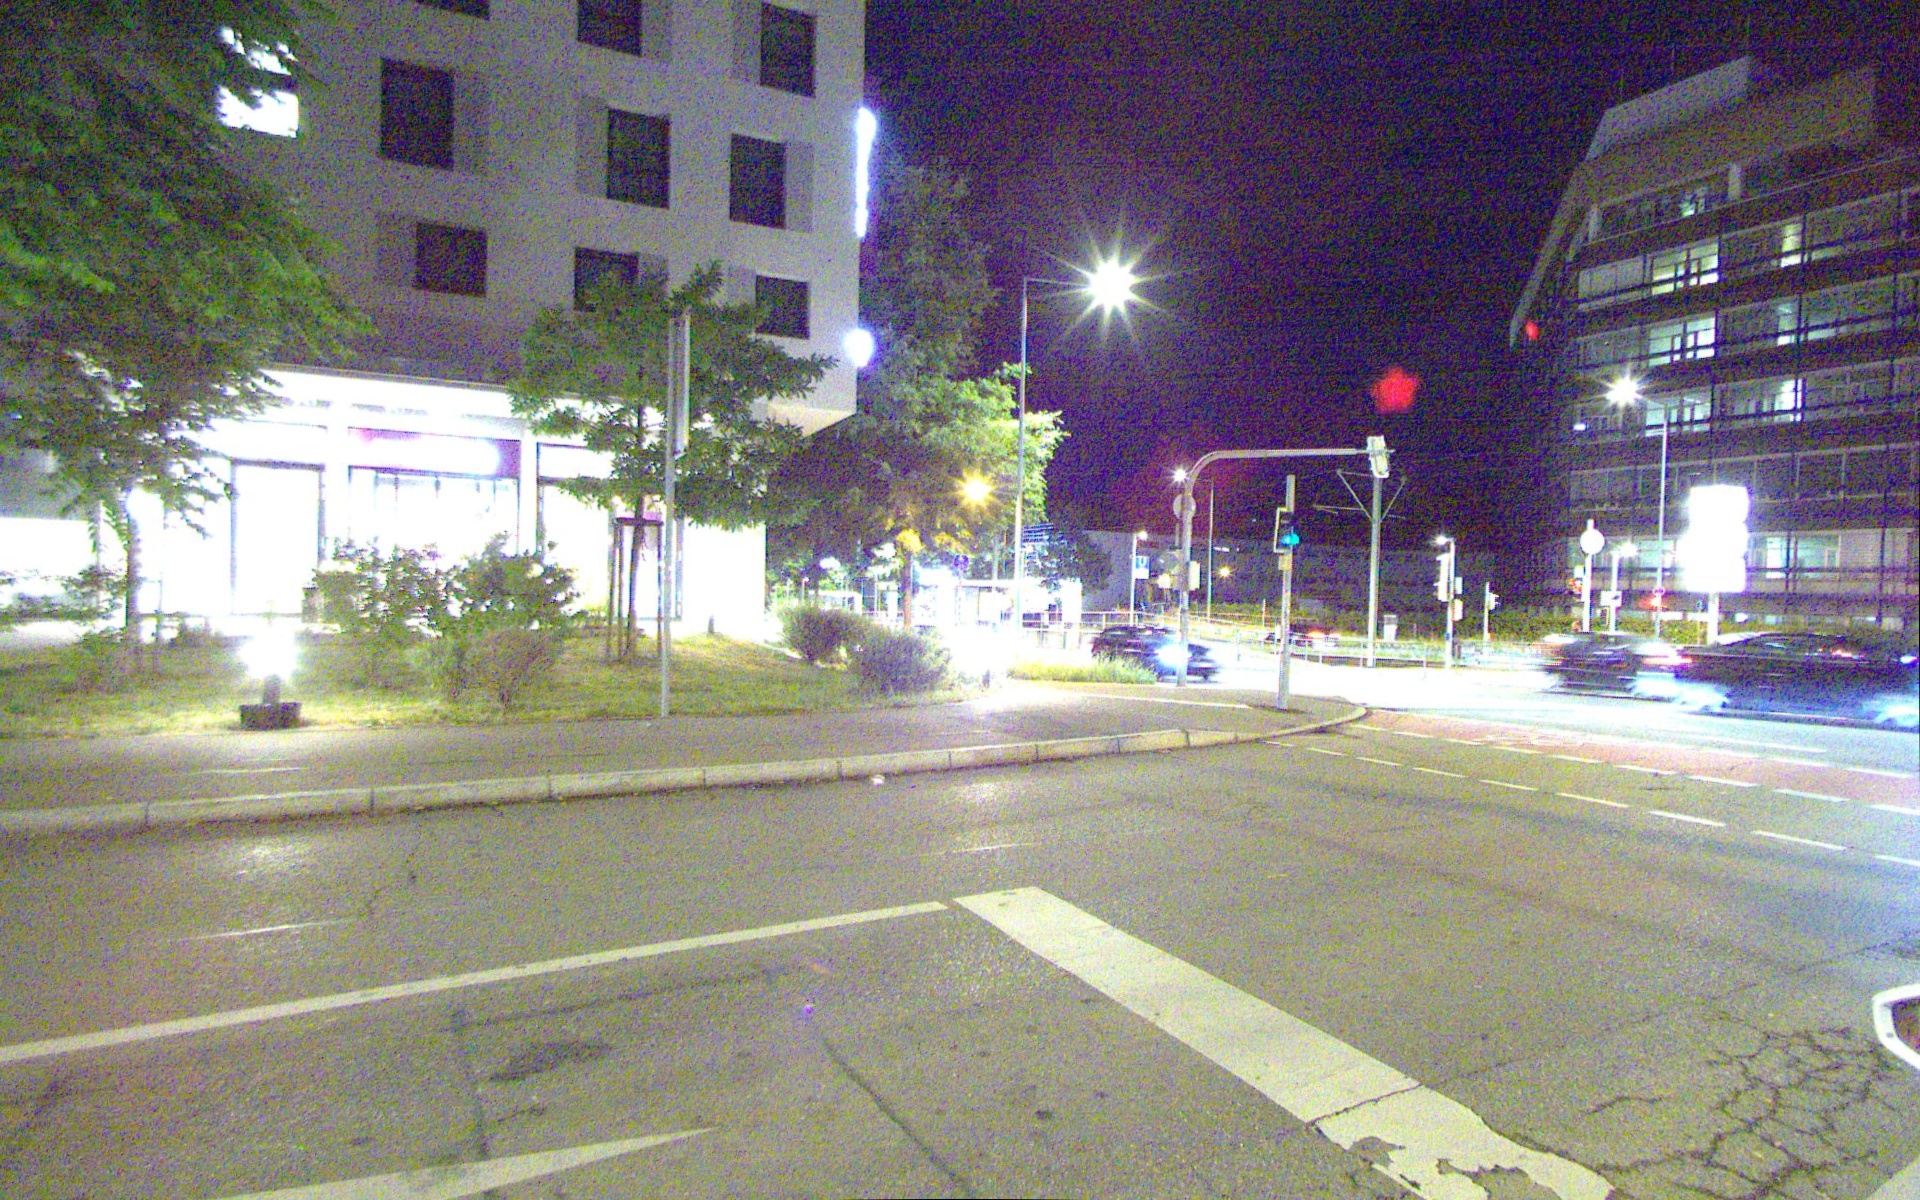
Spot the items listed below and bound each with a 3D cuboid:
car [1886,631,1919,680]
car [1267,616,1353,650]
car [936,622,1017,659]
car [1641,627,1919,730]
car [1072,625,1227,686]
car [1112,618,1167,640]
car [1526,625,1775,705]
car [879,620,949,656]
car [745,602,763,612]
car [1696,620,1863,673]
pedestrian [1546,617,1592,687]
[{"bbox_3d":[33.400,1.911,32.820,1.863,1.606,4.217,3,-1,-27],"label":"car"},{"bbox_3d":[17.955,1.657,51.677,1.781,1.606,3.971,3,-2,-28],"label":"car"},{"bbox_3d":[0.693,1.820,46.236,1.722,1.620,4.905,0,-1,-26],"label":"car"},{"bbox_3d":[14.089,1.192,16.478,1.722,1.439,4.557,-2,-1,-26],"label":"car"},{"bbox_3d":[5.192,1.483,28.244,1.722,1.493,4.905,1,-1,-26],"label":"car"},{"bbox_3d":[12.591,2.012,70.796,1.818,1.443,4.047,-1,0,-26],"label":"car"},{"bbox_3d":[14.808,1.318,21.837,1.719,1.439,4.241,-1,0,-22],"label":"car"},{"bbox_3d":[-2.103,1.644,44.569,1.722,1.456,3.889,1,-1,-26],"label":"car"},{"bbox_3d":[-33.463,1.136,162.936,1.845,1.506,3.822,3,0,-26],"label":"car"},{"bbox_3d":[28.903,1.602,35.564,1.779,1.606,4.221,3,-1,-25],"label":"car"},{"bbox_3d":[15.662,1.325,25.849,0.693,1.745,0.679,2,0,-4],"label":"pedestrian"}]
